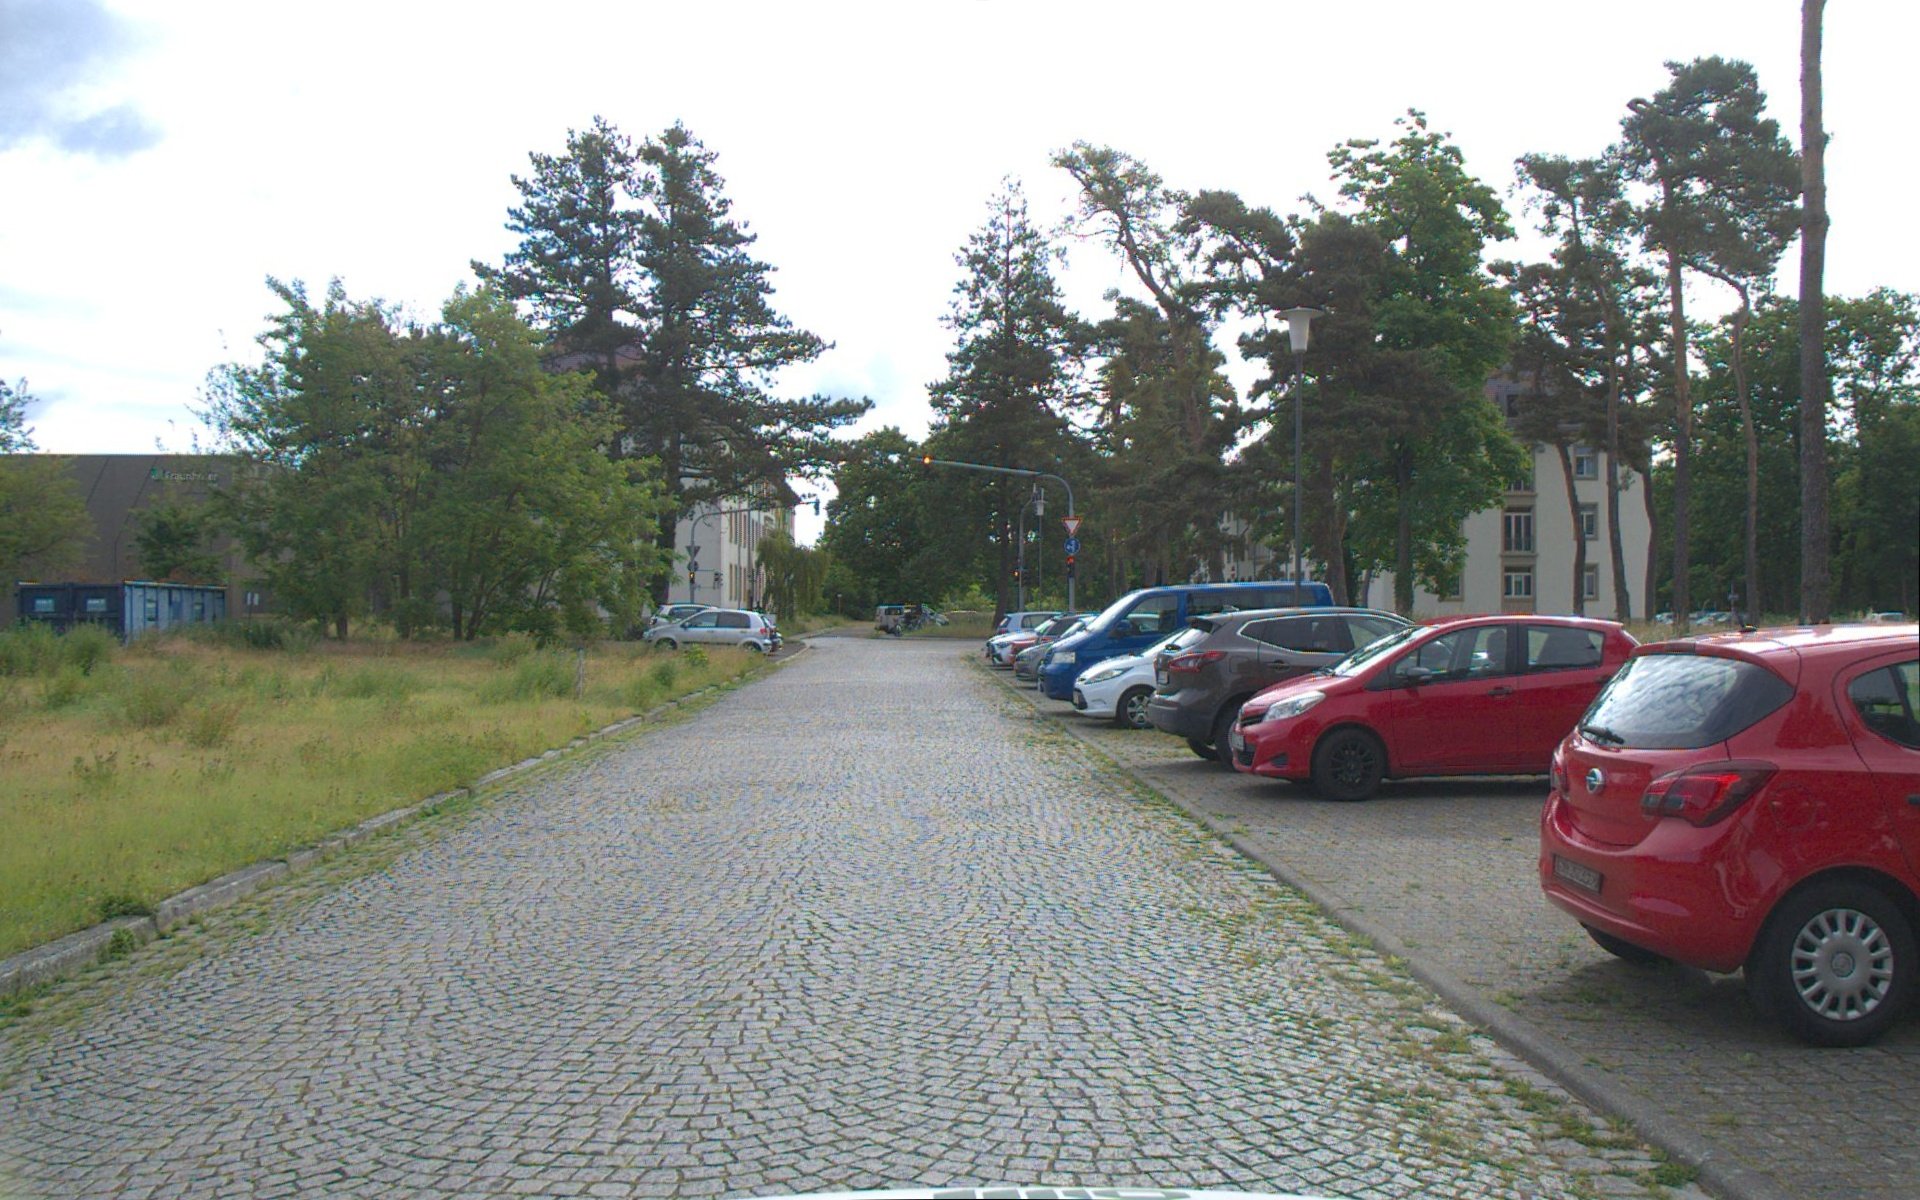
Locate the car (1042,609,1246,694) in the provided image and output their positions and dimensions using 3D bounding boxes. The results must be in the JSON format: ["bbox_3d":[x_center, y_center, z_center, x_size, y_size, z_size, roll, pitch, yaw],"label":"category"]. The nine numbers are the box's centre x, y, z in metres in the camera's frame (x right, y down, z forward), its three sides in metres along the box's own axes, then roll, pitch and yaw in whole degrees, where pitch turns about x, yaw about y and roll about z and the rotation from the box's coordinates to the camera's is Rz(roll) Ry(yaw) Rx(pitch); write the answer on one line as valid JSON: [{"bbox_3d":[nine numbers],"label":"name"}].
[{"bbox_3d":[3.445,0.956,31.279,3.600,1.475,1.522,-1,-1,-4],"label":"car"}]

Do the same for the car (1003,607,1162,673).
[{"bbox_3d":[2.912,0.948,39.734,3.600,1.475,1.522,-1,-1,-4],"label":"car"}]

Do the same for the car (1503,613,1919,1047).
[{"bbox_3d":[4.429,0.794,6.823,3.749,1.486,1.778,-1,-1,-3],"label":"car"}]

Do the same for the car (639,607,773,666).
[{"bbox_3d":[-7.364,1.064,48.257,3.748,1.600,1.562,-1,-1,-6],"label":"car"}]

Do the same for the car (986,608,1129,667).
[{"bbox_3d":[2.582,0.985,44.259,3.602,1.446,1.521,-1,-1,-7],"label":"car"}]

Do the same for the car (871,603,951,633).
[{"bbox_3d":[-3.479,1.256,116.371,5.349,2.049,2.262,1,-1,-12],"label":"car"}]

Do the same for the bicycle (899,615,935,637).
[{"bbox_3d":[-2.546,1.544,98.490,2.096,1.236,0.621,1,-1,-7],"label":"bicycle"}]

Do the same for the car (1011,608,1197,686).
[{"bbox_3d":[2.920,0.944,34.037,3.600,1.475,1.522,-1,-1,-4],"label":"car"}]

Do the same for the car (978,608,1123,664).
[{"bbox_3d":[2.553,1.012,47.114,3.892,1.446,1.617,-1,-1,-7],"label":"car"}]

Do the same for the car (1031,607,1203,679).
[{"bbox_3d":[3.488,0.949,37.052,3.600,1.475,1.522,-1,-1,-4],"label":"car"}]

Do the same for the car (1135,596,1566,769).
[{"bbox_3d":[3.931,0.810,17.047,3.950,1.580,1.749,-1,-1,-5],"label":"car"}]

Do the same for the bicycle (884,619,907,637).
[{"bbox_3d":[-3.664,1.597,94.368,0.613,0.961,1.646,1,-1,-30],"label":"bicycle"}]

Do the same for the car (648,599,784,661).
[{"bbox_3d":[-7.880,0.979,53.642,4.177,1.873,1.742,-1,-1,-3],"label":"car"}]

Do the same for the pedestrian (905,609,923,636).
[{"bbox_3d":[-2.754,1.336,98.826,1.014,1.642,0.756,1,-1,-7],"label":"pedestrian"}]

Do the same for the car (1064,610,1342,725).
[{"bbox_3d":[3.383,0.925,23.401,3.600,1.475,1.613,-1,-1,-5],"label":"car"}]

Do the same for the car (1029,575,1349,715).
[{"bbox_3d":[3.519,0.687,26.004,4.661,1.989,1.929,-1,-1,-4],"label":"car"}]

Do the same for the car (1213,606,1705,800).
[{"bbox_3d":[4.233,0.851,14.425,3.716,1.486,1.750,-1,-1,-3],"label":"car"}]

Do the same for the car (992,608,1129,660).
[{"bbox_3d":[3.007,1.012,49.786,3.892,1.446,1.617,-1,-1,-7],"label":"car"}]

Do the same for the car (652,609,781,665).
[{"bbox_3d":[-7.419,1.121,50.672,3.745,1.600,1.563,-1,-1,-3],"label":"car"}]
